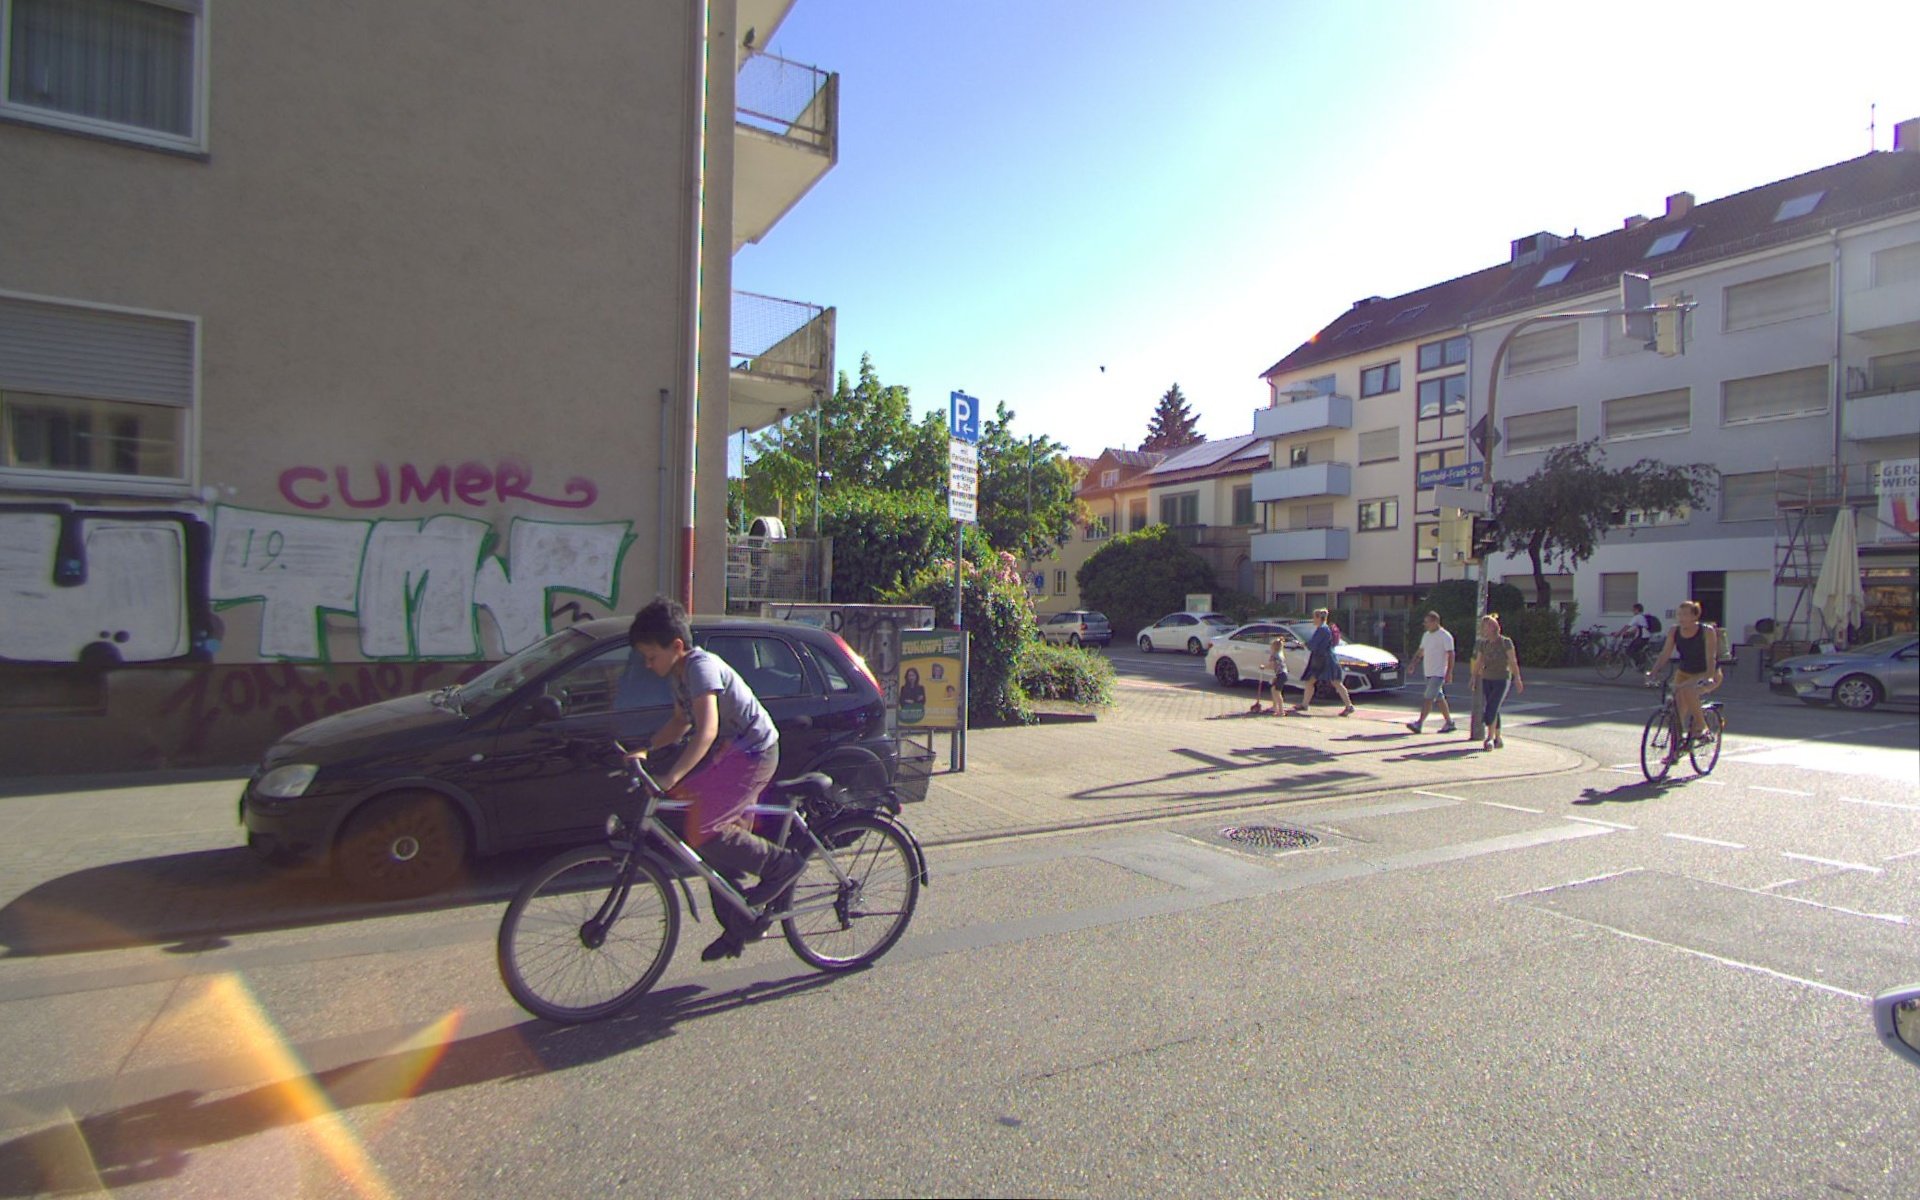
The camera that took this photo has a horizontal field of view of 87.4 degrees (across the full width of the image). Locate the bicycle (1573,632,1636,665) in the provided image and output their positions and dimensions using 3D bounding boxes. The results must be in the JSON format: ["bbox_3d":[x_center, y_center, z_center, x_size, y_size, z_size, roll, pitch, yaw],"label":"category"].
[{"bbox_3d":[19.636,1.457,30.618,0.506,0.952,1.583,1,-1,-27],"label":"bicycle"}]

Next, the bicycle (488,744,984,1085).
[{"bbox_3d":[-0.815,1.102,3.905,1.805,0.914,0.540,1,0,-31],"label":"bicycle"}]

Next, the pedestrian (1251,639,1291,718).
[{"bbox_3d":[4.716,1.177,15.222,0.522,1.161,0.386,1,0,26],"label":"pedestrian"}]

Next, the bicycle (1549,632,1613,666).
[{"bbox_3d":[18.419,1.441,29.835,0.506,0.952,1.583,1,-1,-27],"label":"bicycle"}]

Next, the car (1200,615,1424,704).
[{"bbox_3d":[7.146,1.125,20.859,1.909,1.455,4.238,-3,2,-27],"label":"car"}]

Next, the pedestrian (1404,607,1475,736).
[{"bbox_3d":[6.573,0.956,13.771,0.659,1.711,0.572,1,0,-21],"label":"pedestrian"}]

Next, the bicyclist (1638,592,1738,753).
[{"bbox_3d":[7.271,0.697,10.038,0.765,1.541,0.540,1,0,-30],"label":"bicyclist"}]

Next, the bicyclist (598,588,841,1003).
[{"bbox_3d":[-0.926,0.668,3.844,0.779,1.409,0.540,1,0,-30],"label":"bicyclist"}]

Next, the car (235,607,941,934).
[{"bbox_3d":[-2.195,0.832,6.427,3.813,1.468,1.682,1,2,-32],"label":"car"}]

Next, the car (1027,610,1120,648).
[{"bbox_3d":[4.656,1.165,41.701,1.893,1.449,3.968,-2,1,-30],"label":"car"}]

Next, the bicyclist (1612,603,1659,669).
[{"bbox_3d":[16.414,0.867,24.413,0.550,1.569,0.805,1,0,-40],"label":"bicyclist"}]

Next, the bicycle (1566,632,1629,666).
[{"bbox_3d":[19.117,1.460,30.158,0.506,0.952,1.583,1,-1,-27],"label":"bicycle"}]

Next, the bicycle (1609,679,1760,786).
[{"bbox_3d":[7.254,1.286,10.032,1.804,0.914,0.540,1,0,-30],"label":"bicycle"}]

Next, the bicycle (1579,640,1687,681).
[{"bbox_3d":[16.368,1.457,24.465,0.550,0.845,2.107,1,0,-39],"label":"bicycle"}]

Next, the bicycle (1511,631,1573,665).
[{"bbox_3d":[17.379,1.416,30.036,0.506,0.952,1.583,1,-1,-27],"label":"bicycle"}]

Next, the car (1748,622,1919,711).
[{"bbox_3d":[16.692,1.148,17.638,4.094,1.453,1.843,0,-1,20],"label":"car"}]

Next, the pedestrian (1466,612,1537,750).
[{"bbox_3d":[6.487,0.944,12.045,0.556,1.602,0.529,1,0,-29],"label":"pedestrian"}]

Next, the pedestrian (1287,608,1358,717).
[{"bbox_3d":[5.799,0.982,16.103,0.949,1.705,0.575,1,0,8],"label":"pedestrian"}]

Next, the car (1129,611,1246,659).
[{"bbox_3d":[8.016,1.191,35.729,1.893,1.539,3.968,0,0,-30],"label":"car"}]

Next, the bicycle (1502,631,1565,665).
[{"bbox_3d":[16.900,1.403,29.631,0.506,0.952,1.583,1,-1,-27],"label":"bicycle"}]
